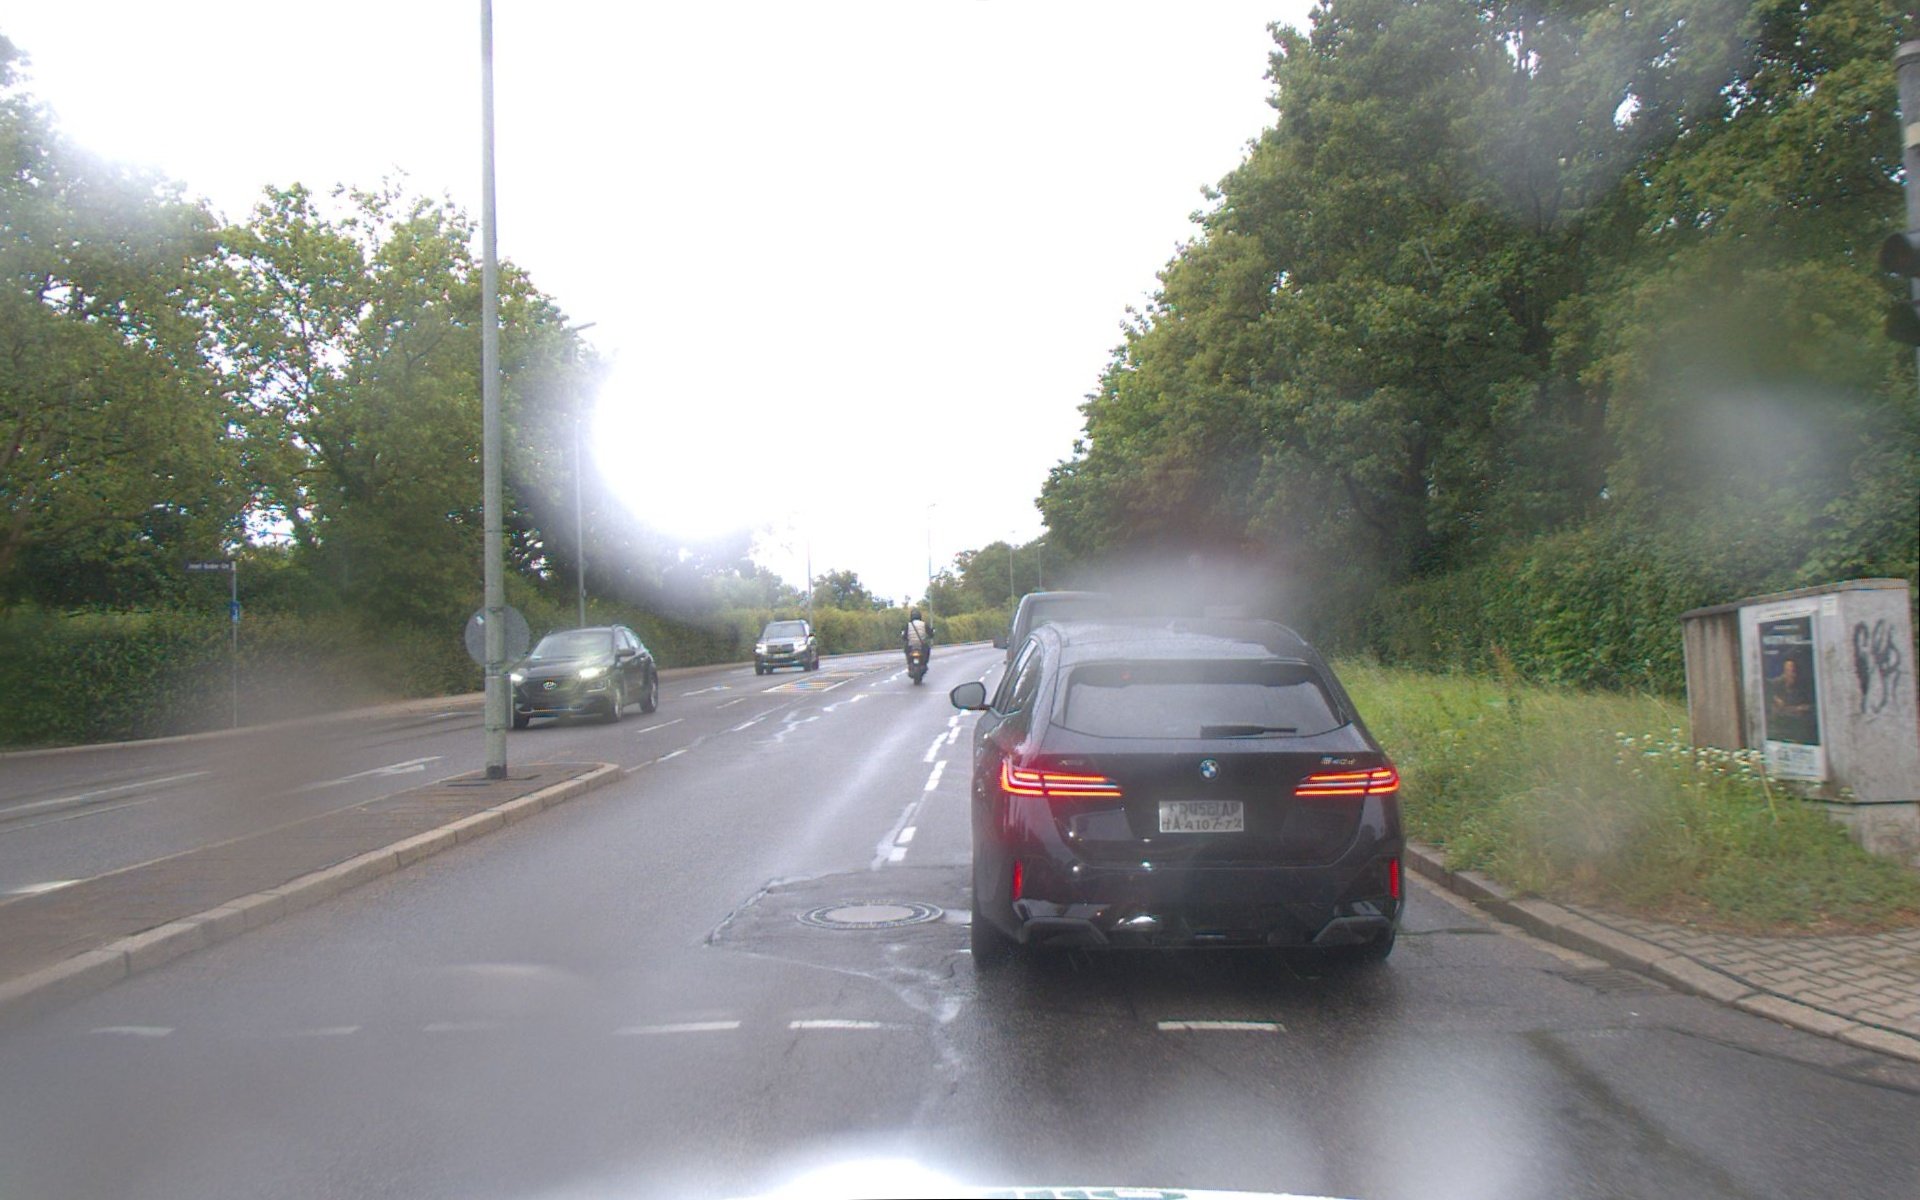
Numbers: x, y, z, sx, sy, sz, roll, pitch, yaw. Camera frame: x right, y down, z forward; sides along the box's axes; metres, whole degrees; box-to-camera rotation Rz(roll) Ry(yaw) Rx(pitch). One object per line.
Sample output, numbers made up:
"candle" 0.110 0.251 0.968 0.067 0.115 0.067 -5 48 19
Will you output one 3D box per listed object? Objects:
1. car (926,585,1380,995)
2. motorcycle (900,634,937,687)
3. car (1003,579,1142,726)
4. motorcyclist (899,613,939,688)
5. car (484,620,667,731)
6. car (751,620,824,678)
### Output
"car" 0.829 0.756 8.275 1.727 1.563 3.674 -1 -1 3
"motorcycle" -0.947 1.382 37.845 0.726 1.139 1.427 -1 0 3
"car" 1.528 0.651 23.138 1.730 1.841 3.907 -1 0 3
"motorcyclist" -0.933 1.157 37.854 0.827 1.676 0.468 -2 0 2
"car" -6.331 1.196 27.675 1.984 1.590 3.877 -3 -1 2
"car" -5.346 1.491 51.634 1.758 1.631 3.732 -3 -1 1
